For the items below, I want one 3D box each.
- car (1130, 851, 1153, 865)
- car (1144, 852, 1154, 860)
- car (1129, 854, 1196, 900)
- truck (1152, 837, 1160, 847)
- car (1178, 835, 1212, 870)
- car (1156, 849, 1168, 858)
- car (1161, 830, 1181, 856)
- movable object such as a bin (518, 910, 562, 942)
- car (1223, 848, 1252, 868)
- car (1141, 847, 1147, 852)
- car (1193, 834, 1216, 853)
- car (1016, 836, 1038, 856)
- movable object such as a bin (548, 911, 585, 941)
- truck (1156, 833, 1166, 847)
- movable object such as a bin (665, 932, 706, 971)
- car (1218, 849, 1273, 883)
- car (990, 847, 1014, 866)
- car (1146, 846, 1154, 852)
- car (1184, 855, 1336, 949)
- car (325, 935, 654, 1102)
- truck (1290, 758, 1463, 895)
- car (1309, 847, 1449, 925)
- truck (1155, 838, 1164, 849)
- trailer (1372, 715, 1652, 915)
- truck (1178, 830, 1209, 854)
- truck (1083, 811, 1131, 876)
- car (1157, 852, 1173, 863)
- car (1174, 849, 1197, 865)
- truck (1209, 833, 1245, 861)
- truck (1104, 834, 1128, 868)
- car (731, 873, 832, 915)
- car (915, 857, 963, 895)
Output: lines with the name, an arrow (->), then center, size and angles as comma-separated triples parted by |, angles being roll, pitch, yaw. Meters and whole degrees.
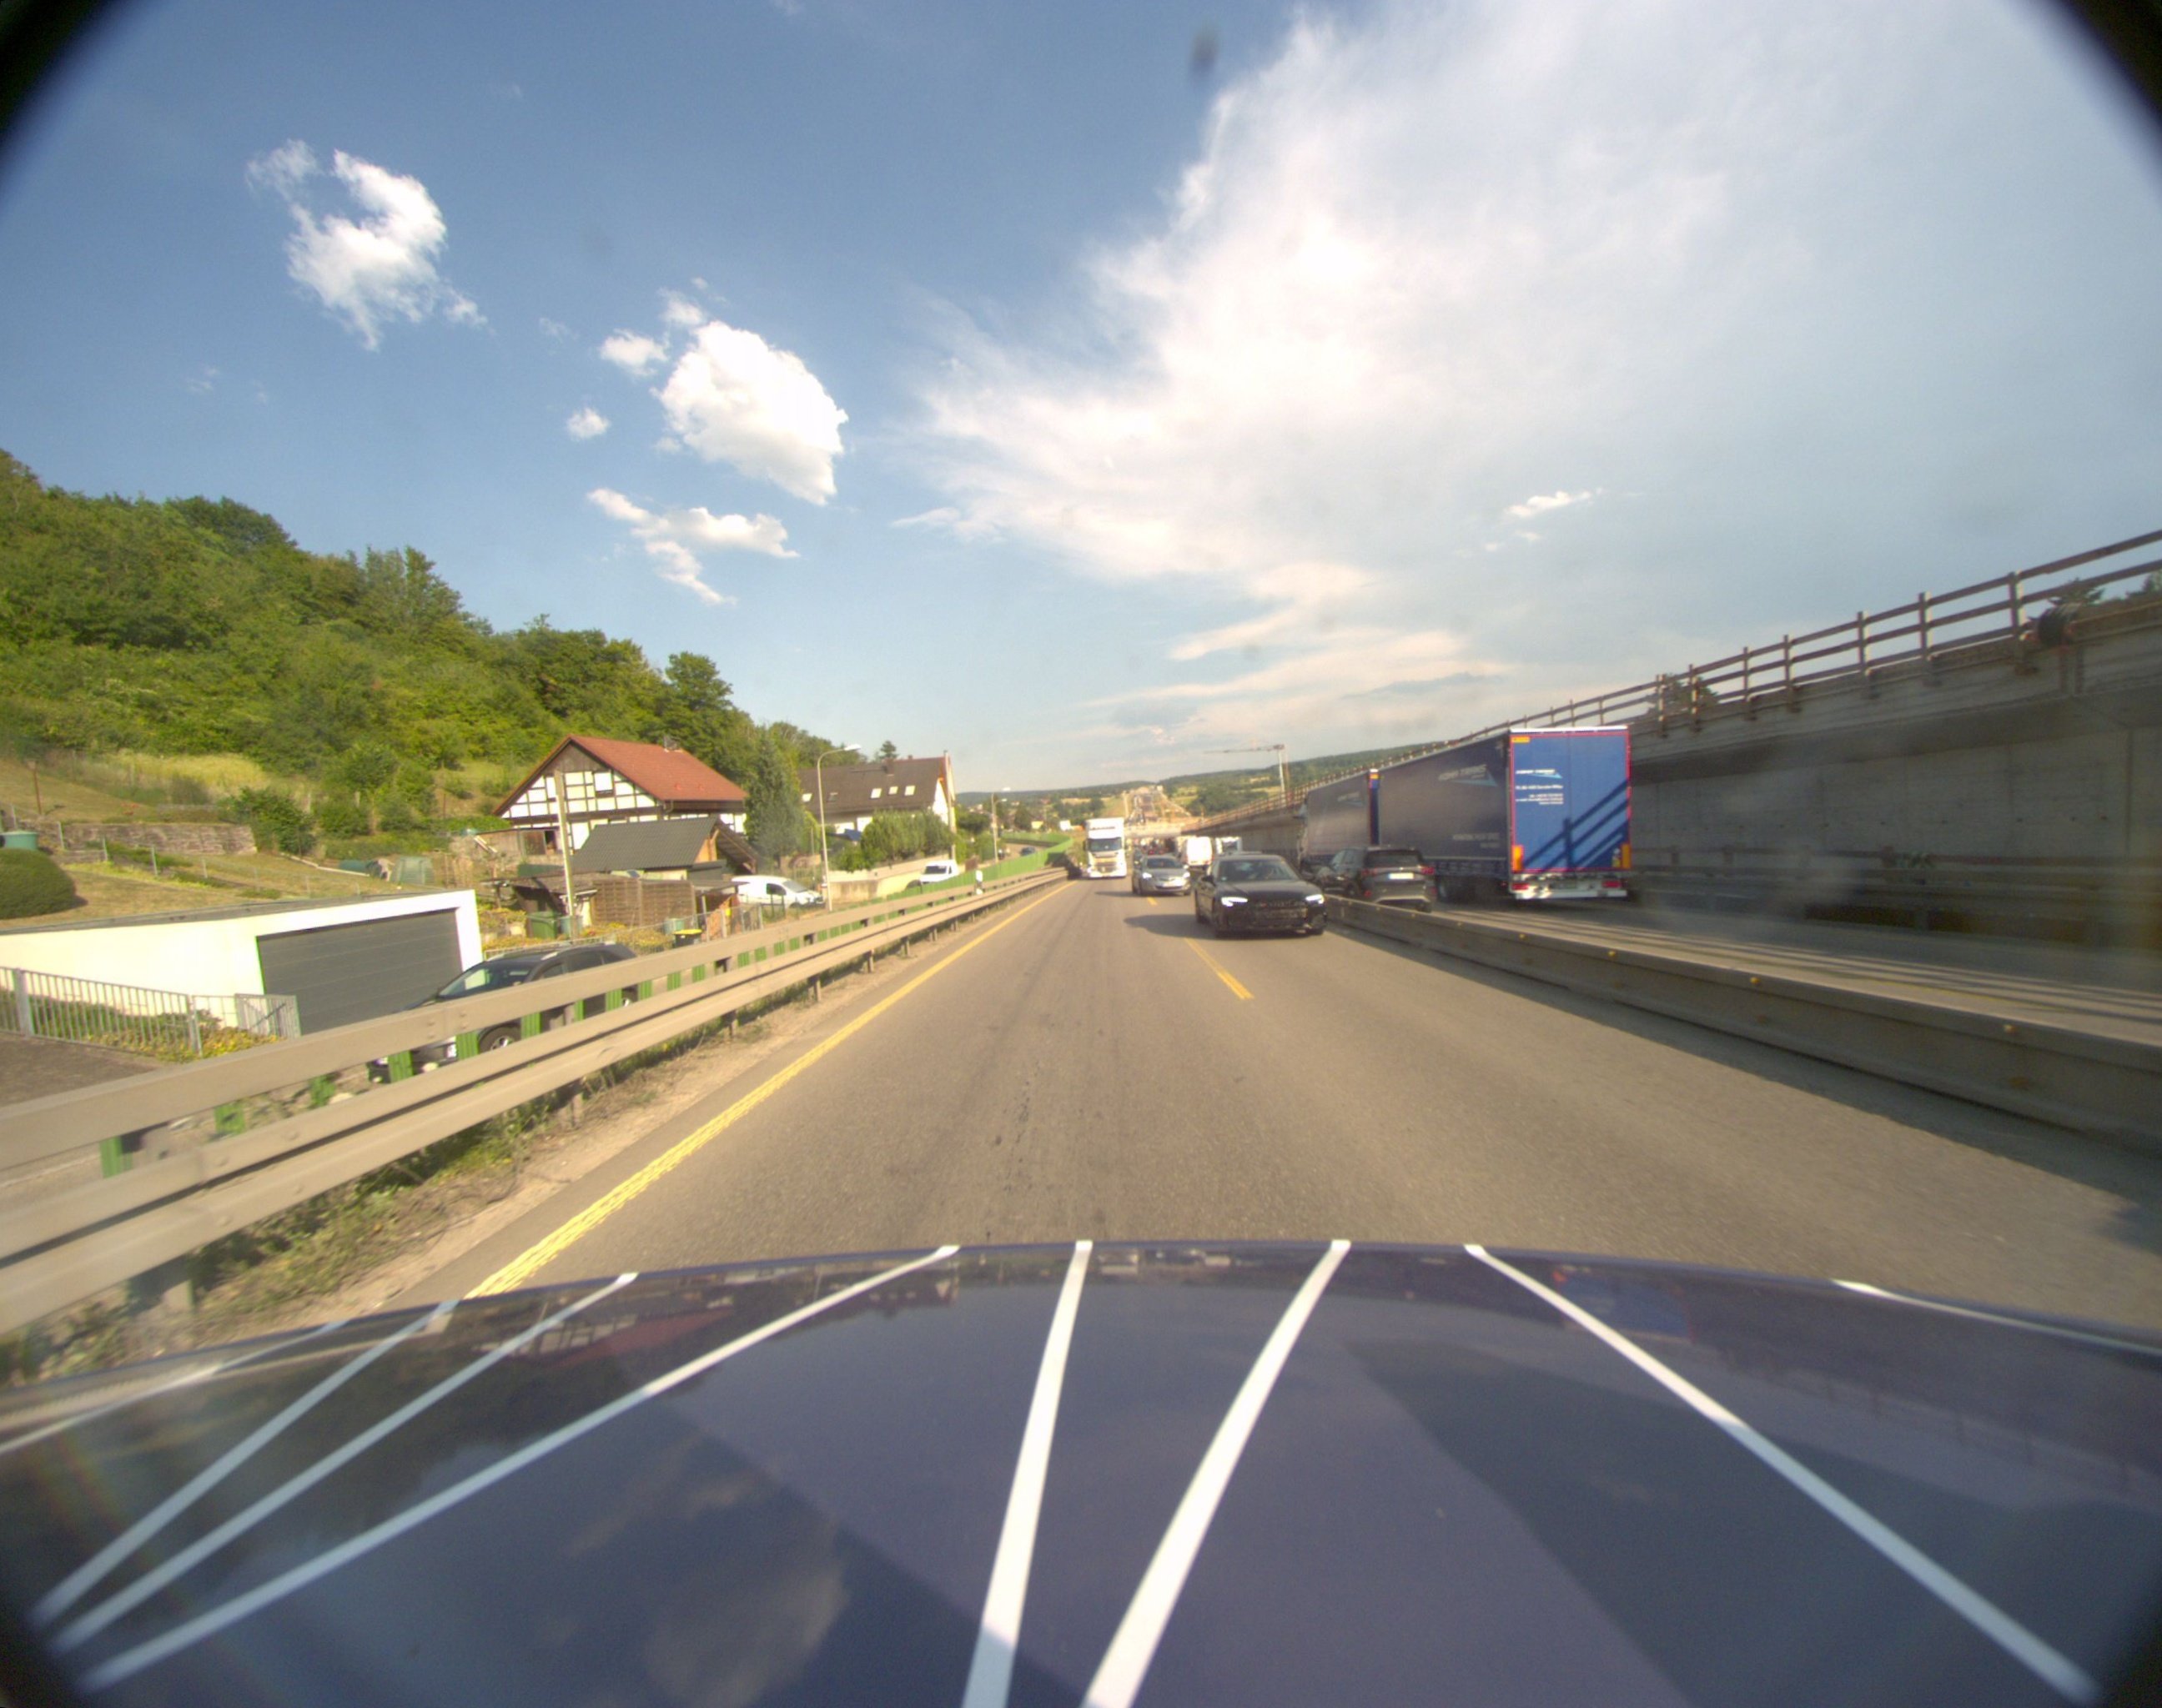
car -> 7.208, 0.487, 90.669 | 2.000, 1.565, 3.997 | -2, 1, -6
car -> 14.036, 0.405, 157.411 | 1.712, 1.312, 3.665 | -5, 0, 3
car -> 2.897, 0.783, 27.790 | 1.810, 1.478, 4.117 | -1, 0, -2
truck -> 25.591, -4.119, 259.437 | 1.998, 3.154, 5.763 | -2, 1, 2
car -> 8.929, -0.120, 60.078 | 2.001, 2.601, 5.614 | -1, 0, 2
car -> 13.007, -0.070, 122.362 | 1.712, 1.312, 3.665 | -5, 0, 3
car -> 19.015, -2.305, 160.984 | 3.327, 5.356, 14.301 | -2, 1, 4
movable object such as a bin -> -16.487, 2.196, 23.169 | 0.791, 0.896, 0.680 | -2, 1, 1
car -> 12.427, 0.268, 60.635 | 1.712, 1.379, 4.001 | -5, 0, 5
car -> 18.231, -1.401, 220.466 | 1.712, 1.312, 3.665 | -5, 0, 3
car -> 14.661, -1.283, 90.387 | 2.214, 2.011, 3.973 | -5, 0, 3
car -> -5.528, -0.819, 77.975 | 1.999, 2.002, 3.999 | -2, 1, -1
movable object such as a bin -> -16.556, 2.312, 24.461 | 0.688, 0.896, 0.680 | -2, 1, 1
truck -> 19.414, -3.433, 185.030 | 1.998, 3.154, 5.763 | -2, 1, 2
movable object such as a bin -> -11.488, 2.815, 22.090 | 0.724, 0.995, 0.677 | -4, 1, 2
car -> 7.765, 0.541, 36.316 | 1.746, 1.432, 4.592 | -4, 0, 2
car -> -8.894, 0.254, 85.879 | 1.998, 2.002, 4.000 | -2, 1, 2
car -> 17.126, -1.177, 189.707 | 1.712, 1.312, 3.665 | -5, 0, 3
car -> 3.272, 0.795, 14.979 | 1.945, 1.471, 5.222 | -1, 0, 2
car -> -9.922, 2.660, 13.361 | 1.866, 1.775, 4.498 | -2, 2, 6
truck -> 10.828, -0.915, 29.405 | 2.822, 4.233, 10.581 | -2, 1, 2
car -> 6.855, 0.654, 18.014 | 1.703, 1.567, 4.370 | -2, 1, 2
truck -> 21.773, -2.943, 211.545 | 1.998, 3.154, 5.763 | -2, 1, 2
trailer -> 10.564, -0.842, 19.977 | 2.822, 4.081, 8.287 | -2, 1, 2
truck -> 15.273, -1.594, 103.636 | 3.242, 3.127, 6.489 | -2, 1, 1
truck -> 1.965, -0.724, 54.681 | 2.892, 4.059, 13.894 | -2, 1, 3
car -> 10.727, 0.441, 97.284 | 1.712, 1.312, 3.665 | -5, 0, 3
car -> 9.823, 0.298, 71.803 | 1.712, 1.312, 3.665 | -5, 0, 3
truck -> 13.574, -0.646, 70.821 | 2.279, 2.287, 6.064 | -5, 0, 3
truck -> 4.896, -0.327, 106.443 | 2.788, 4.504, 7.190 | -4, -1, 0
car -> -13.917, 1.846, 35.454 | 3.996, 1.829, 1.750 | 0, 2, 3
car -> -8.489, 1.276, 45.765 | 1.824, 1.931, 4.283 | -3, 2, 1
